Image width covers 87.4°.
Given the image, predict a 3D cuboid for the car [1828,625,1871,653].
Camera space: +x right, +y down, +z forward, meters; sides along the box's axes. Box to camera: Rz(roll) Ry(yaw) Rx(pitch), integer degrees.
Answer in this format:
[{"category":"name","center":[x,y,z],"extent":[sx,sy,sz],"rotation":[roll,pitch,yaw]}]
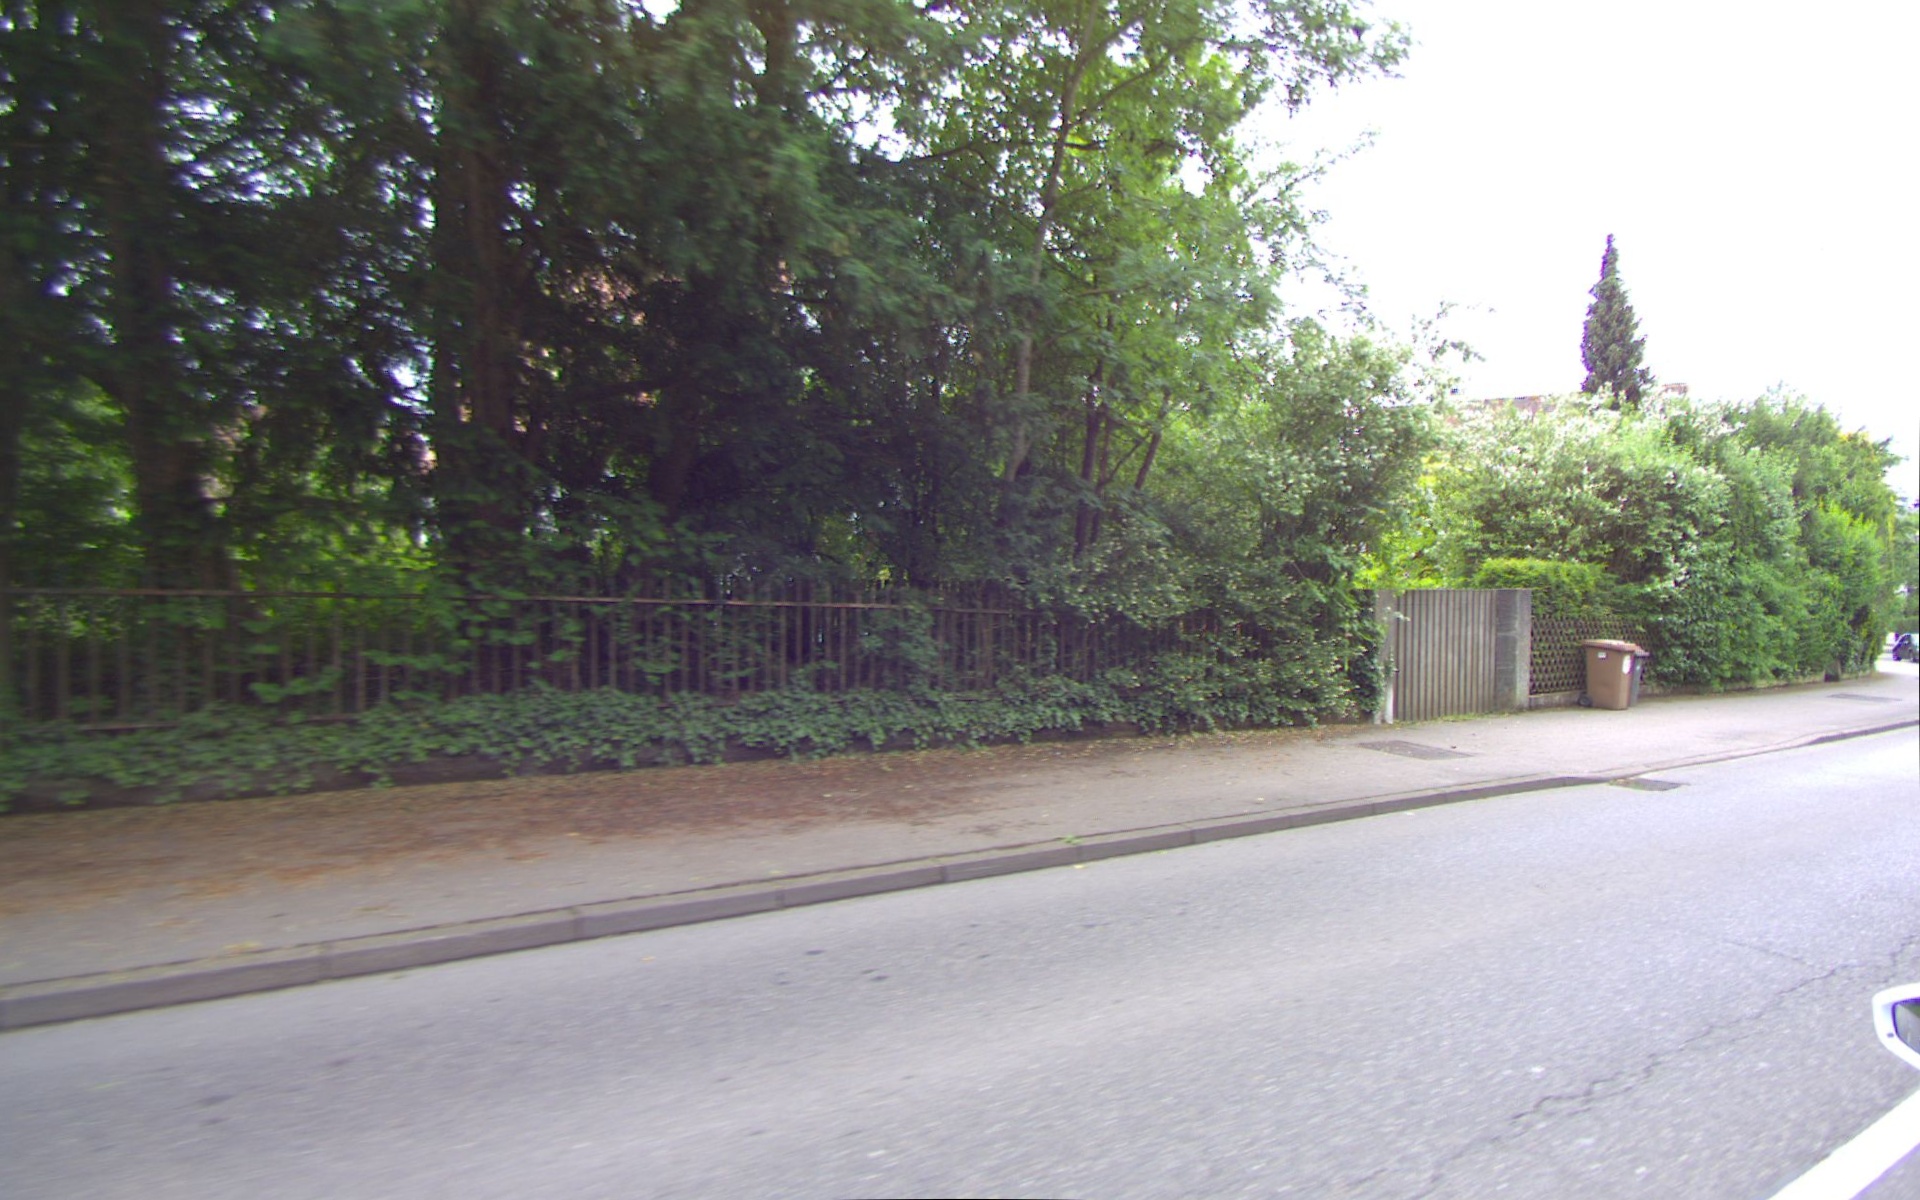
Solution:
[{"category":"car","center":[59.864,2.612,67.653],"extent":[1.869,1.728,3.984],"rotation":[1,0,37]}]

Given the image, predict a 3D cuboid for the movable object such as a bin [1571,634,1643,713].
[{"category":"movable object such as a bin","center":[10.182,1.135,15.808],"extent":[0.640,1.157,0.735],"rotation":[1,2,-36]}]

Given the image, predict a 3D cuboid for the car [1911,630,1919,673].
[{"category":"car","center":[34.731,1.763,35.139],"extent":[3.770,1.473,1.884],"rotation":[1,-3,-43]}]

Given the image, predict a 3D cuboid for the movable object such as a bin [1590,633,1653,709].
[{"category":"movable object such as a bin","center":[10.754,1.132,16.336],"extent":[0.640,1.160,0.624],"rotation":[1,2,-36]}]

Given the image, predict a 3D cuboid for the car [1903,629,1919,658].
[{"category":"car","center":[48.193,2.143,49.902],"extent":[1.892,1.416,3.887],"rotation":[-1,-2,42]}]
